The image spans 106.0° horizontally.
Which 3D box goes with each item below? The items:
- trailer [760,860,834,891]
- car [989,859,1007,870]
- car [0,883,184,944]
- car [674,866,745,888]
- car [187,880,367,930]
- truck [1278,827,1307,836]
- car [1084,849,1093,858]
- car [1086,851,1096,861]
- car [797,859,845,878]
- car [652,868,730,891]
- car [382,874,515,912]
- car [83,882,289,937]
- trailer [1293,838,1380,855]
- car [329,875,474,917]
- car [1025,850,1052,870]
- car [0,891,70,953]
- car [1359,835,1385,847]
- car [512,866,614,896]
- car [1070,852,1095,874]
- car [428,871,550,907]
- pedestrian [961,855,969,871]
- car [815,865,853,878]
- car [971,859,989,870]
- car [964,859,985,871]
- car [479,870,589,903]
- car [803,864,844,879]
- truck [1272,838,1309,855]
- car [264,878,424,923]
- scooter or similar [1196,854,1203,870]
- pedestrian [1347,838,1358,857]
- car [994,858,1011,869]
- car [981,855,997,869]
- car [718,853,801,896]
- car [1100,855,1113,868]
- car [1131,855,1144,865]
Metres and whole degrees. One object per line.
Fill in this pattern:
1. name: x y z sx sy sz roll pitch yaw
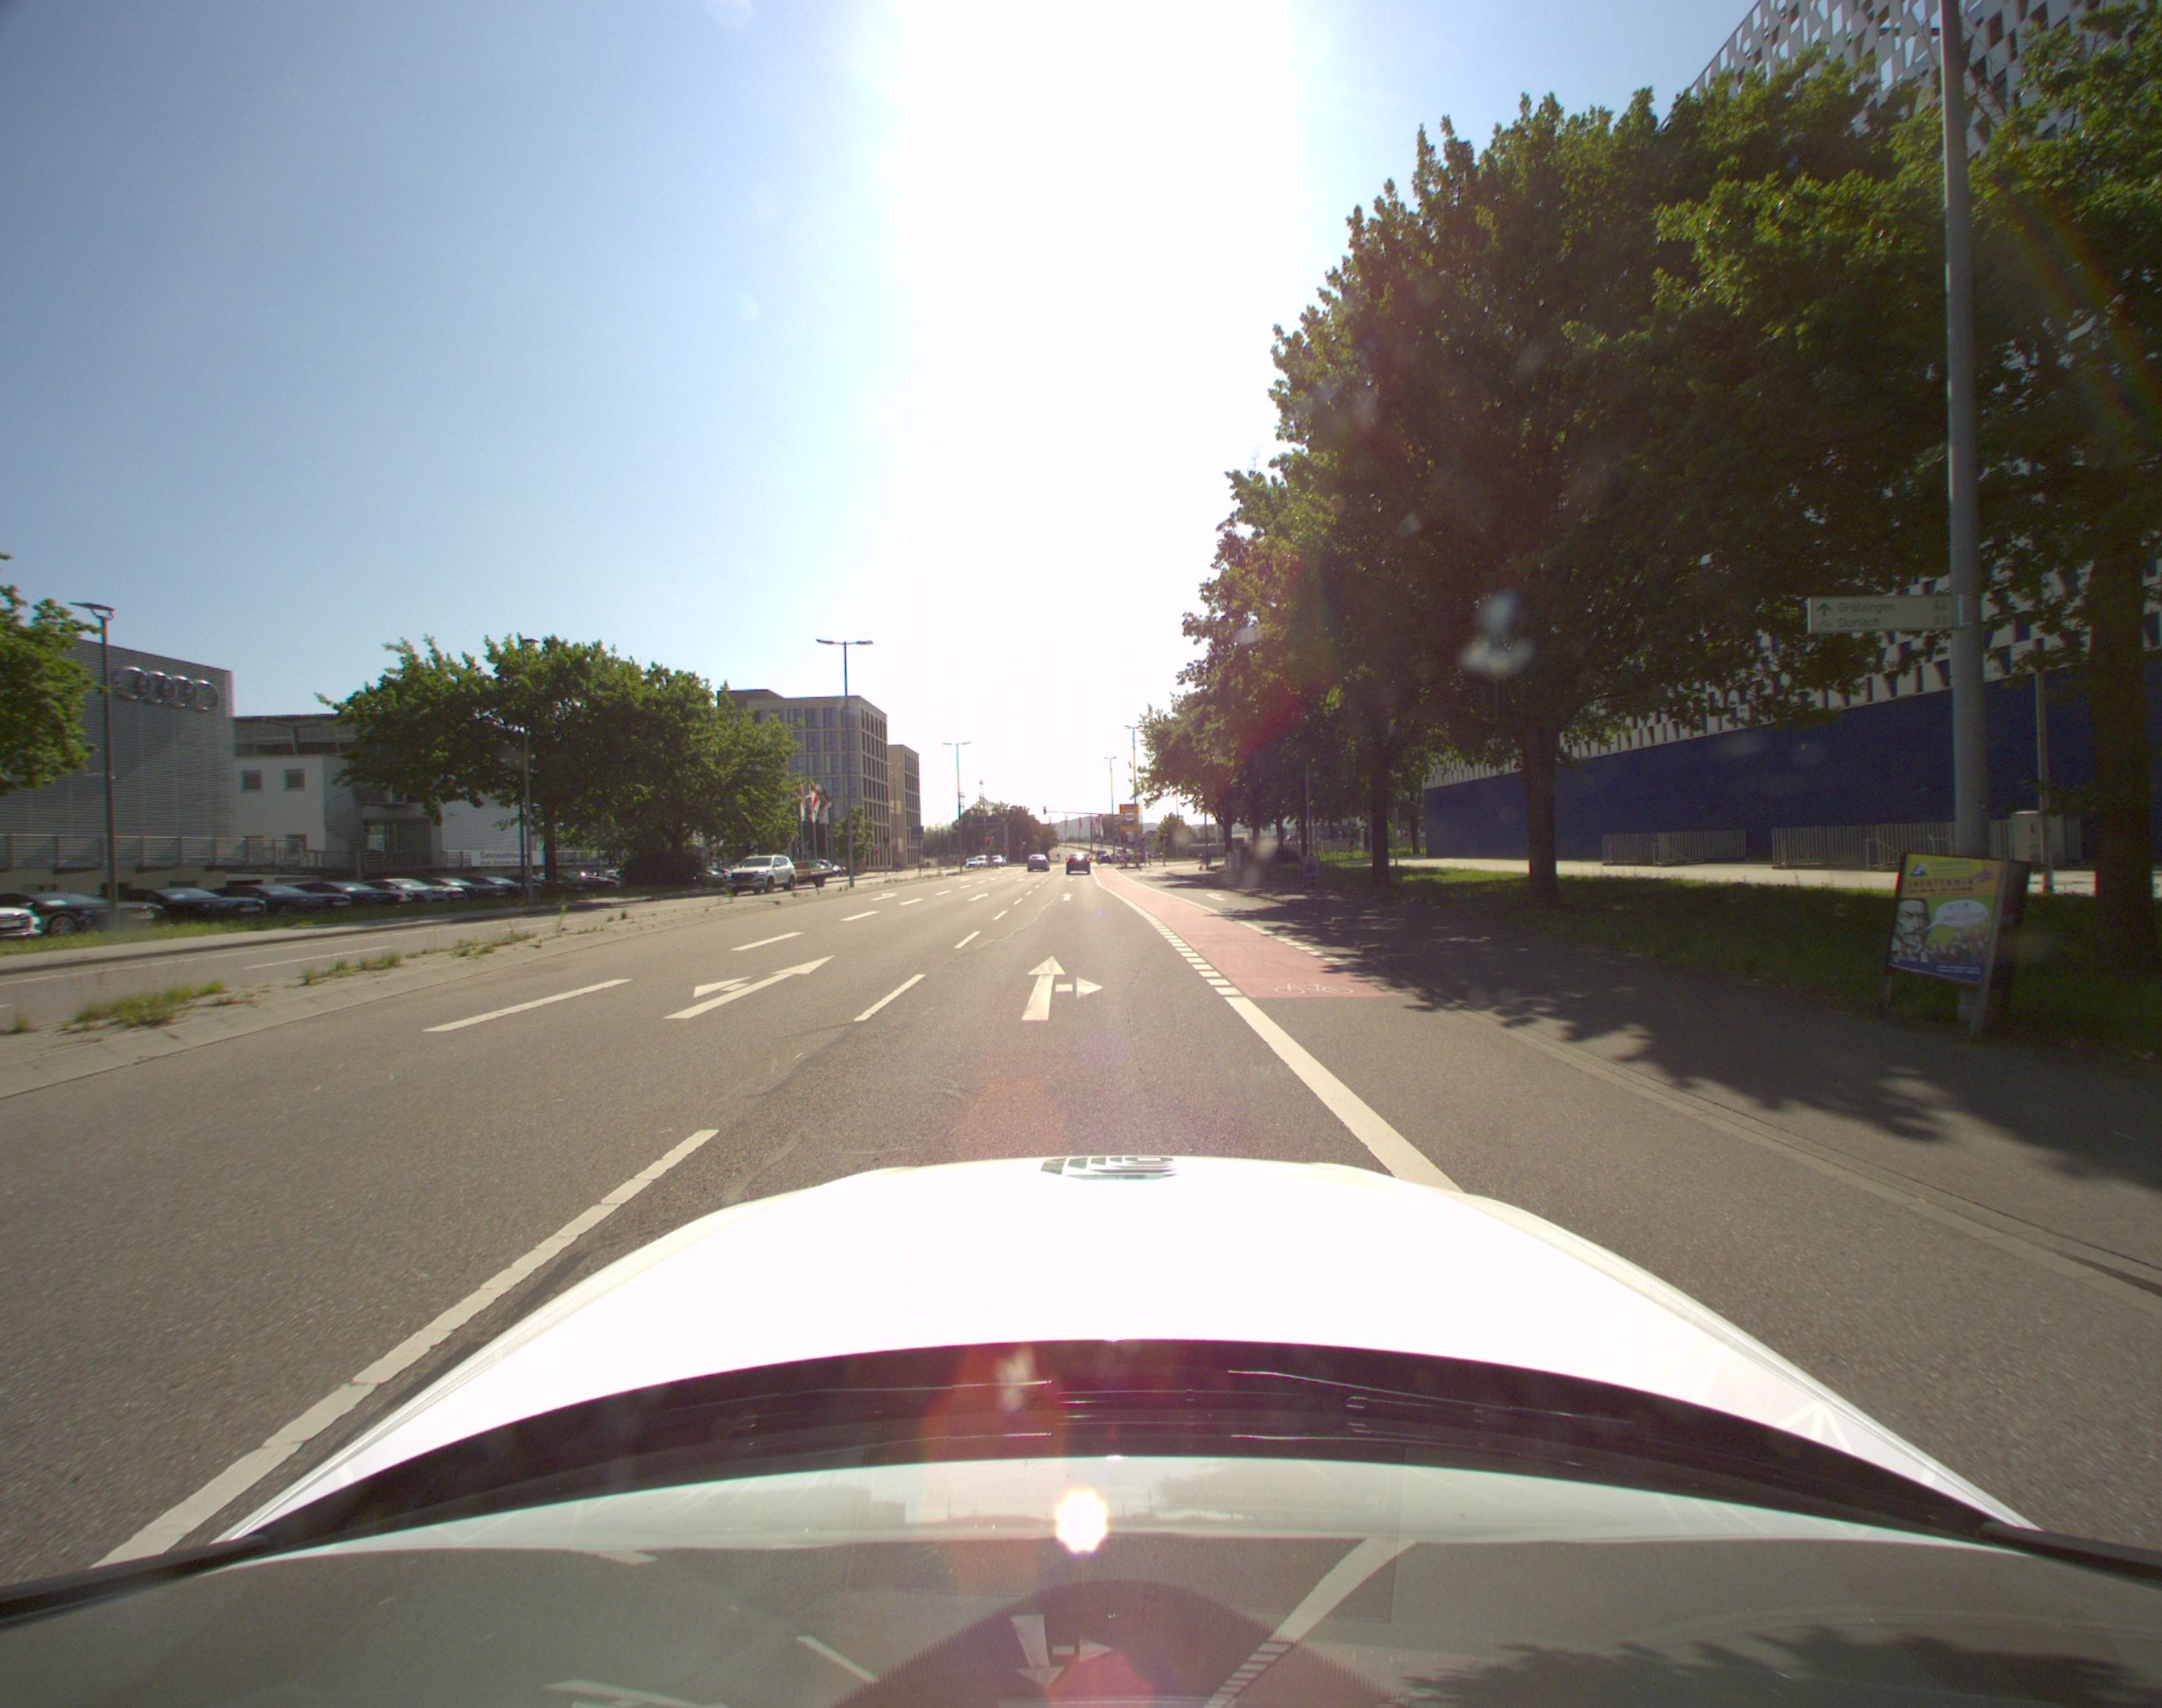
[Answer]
1. trailer: -15.217 1.097 44.015 1.988 1.453 5.769 -2 0 -1
2. car: -11.711 1.516 115.200 1.807 1.464 4.006 -3 0 5
3. car: -26.833 1.572 21.563 3.973 1.376 1.924 -2 0 0
4. car: -25.883 1.572 56.809 3.975 1.343 1.999 -2 0 -1
5. car: -26.541 1.653 26.991 3.973 1.376 1.924 -2 0 0
6. truck: 46.336 -4.936 178.637 5.886 2.013 2.002 0 1 2
7. car: 1.621 -0.152 182.899 1.986 2.013 3.982 0 1 1
8. car: 2.177 0.400 175.130 1.984 2.013 4.007 0 1 6
9. car: -30.687 1.697 96.077 4.896 2.050 2.001 -2 0 1
10. car: -25.896 1.688 54.172 4.137 1.343 1.999 -2 0 -1
11. car: -26.462 1.607 34.170 3.973 1.376 1.924 -2 0 0
12. car: -26.680 1.635 24.379 3.973 1.376 1.924 -2 0 0
13. trailer: 36.586 -1.075 117.067 11.817 2.469 2.003 0 1 4
14. car: -26.449 1.622 31.808 3.973 1.376 1.924 -2 0 0
15. car: -3.804 0.518 73.387 1.986 1.684 4.001 -2 0 1
16. car: -26.986 1.680 19.068 4.028 1.376 2.025 -2 0 0
17. car: 53.029 -2.371 148.504 3.975 2.013 1.999 0 1 -1
18. car: -26.709 1.381 42.105 3.973 1.376 1.924 -2 0 0
19. car: 0.115 0.669 63.632 1.801 1.640 4.459 -2 0 0
20. car: -26.473 1.545 36.521 3.973 1.376 1.924 -2 0 0
21. pedestrian: -15.257 1.167 106.930 0.759 2.013 0.927 0 1 -25
22. car: -30.146 2.100 99.410 3.972 1.464 2.001 -2 0 2
23. car: -15.007 1.547 121.518 1.807 1.464 4.006 -3 0 5
24. car: -14.891 1.538 114.024 1.883 1.464 4.006 -3 0 5
25. car: -26.444 1.552 39.447 3.973 1.376 1.924 -2 0 0
26. car: -25.549 1.696 80.812 3.398 1.343 1.646 -2 0 3
27. truck: 30.194 -1.078 117.482 4.858 2.423 2.003 0 1 4
28. car: -26.514 1.644 29.391 3.973 1.376 1.924 -2 0 0
29. scooter or similar: 9.203 0.620 63.269 0.348 1.233 1.316 -3 0 14
30. pedestrian: 26.177 -0.592 78.578 0.627 1.770 0.802 -2 0 -10
31. car: -11.797 1.387 122.175 1.807 1.464 4.006 -3 0 5
32. car: -9.449 0.807 84.121 1.210 1.331 2.801 0 1 2
33. car: -15.121 0.930 38.602 1.988 1.832 4.934 -2 0 -1
34. car: 3.754 1.147 121.093 1.753 1.758 3.600 0 1 -2
35. car: 8.040 0.844 116.171 1.682 1.359 4.003 0 1 2
